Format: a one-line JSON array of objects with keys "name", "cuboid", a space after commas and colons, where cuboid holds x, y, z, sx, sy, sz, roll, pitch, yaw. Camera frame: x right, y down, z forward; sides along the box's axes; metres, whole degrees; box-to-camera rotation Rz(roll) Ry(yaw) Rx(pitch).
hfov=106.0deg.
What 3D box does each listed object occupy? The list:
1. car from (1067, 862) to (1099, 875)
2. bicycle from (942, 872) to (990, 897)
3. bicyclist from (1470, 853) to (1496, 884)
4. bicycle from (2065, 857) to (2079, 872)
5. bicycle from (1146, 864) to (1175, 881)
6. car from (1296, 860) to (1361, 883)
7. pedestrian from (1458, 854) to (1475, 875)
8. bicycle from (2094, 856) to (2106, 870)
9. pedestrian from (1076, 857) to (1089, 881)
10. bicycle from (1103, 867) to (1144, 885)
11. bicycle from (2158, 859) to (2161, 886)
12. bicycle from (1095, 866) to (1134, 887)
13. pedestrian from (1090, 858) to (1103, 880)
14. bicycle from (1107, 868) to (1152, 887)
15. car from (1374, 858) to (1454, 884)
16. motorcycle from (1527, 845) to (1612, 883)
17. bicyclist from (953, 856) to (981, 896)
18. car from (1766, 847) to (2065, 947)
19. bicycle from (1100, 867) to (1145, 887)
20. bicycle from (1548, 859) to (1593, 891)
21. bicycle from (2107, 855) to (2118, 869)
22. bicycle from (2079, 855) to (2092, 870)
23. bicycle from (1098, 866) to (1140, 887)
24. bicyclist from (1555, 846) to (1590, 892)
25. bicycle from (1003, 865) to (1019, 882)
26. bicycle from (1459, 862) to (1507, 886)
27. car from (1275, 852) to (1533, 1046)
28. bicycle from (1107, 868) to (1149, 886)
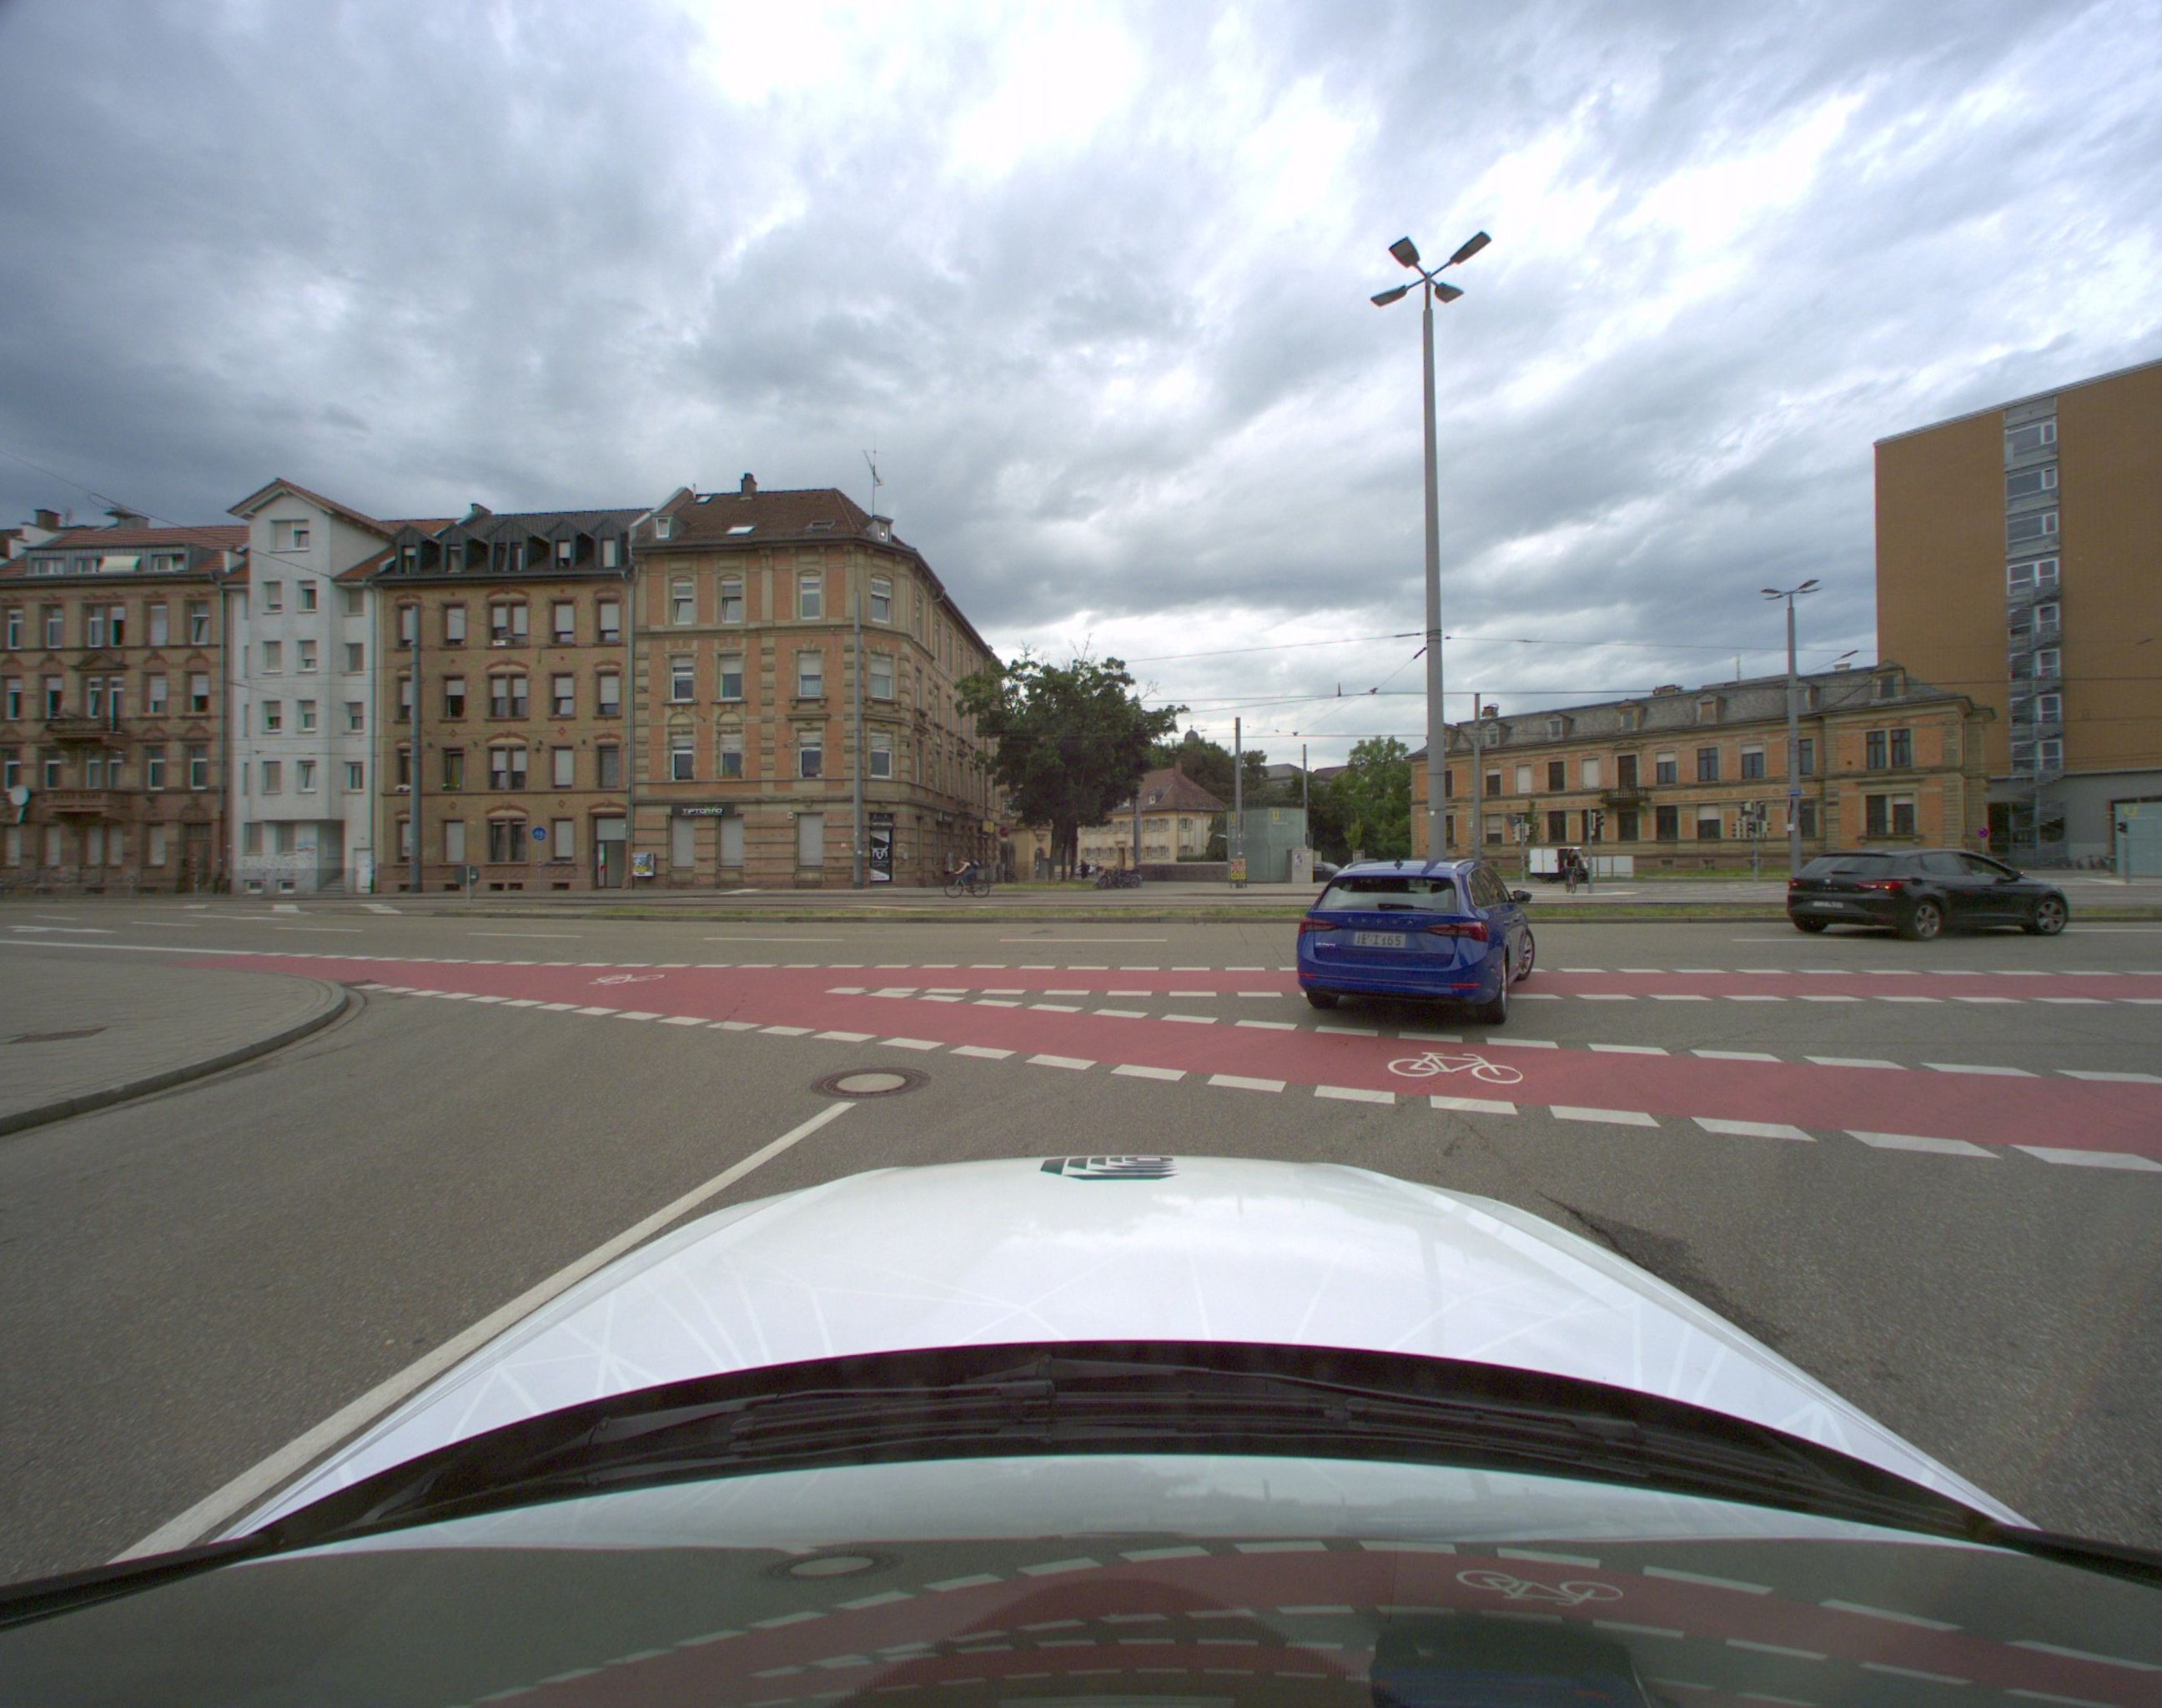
[{"name": "car", "cuboid": [0.206, 1.731, 98.930, 1.705, 1.449, 4.140, 0, 0, -38]}, {"name": "bicycle", "cuboid": [-4.382, 1.153, 31.104, 1.708, 0.915, 0.608, -1, 0, 1]}, {"name": "bicyclist", "cuboid": [21.278, 0.755, 43.145, 0.858, 1.623, 0.908, 1, -2, -34]}, {"name": "bicycle", "cuboid": [76.221, 0.785, 62.634, 1.434, 1.106, 0.566, 0, -1, -37]}, {"name": "bicycle", "cuboid": [5.384, 1.219, 55.296, 0.743, 1.115, 2.339, 0, 0, -32]}, {"name": "car", "cuboid": [16.333, 1.110, 53.993, 1.702, 1.449, 4.103, 0, 0, -30]}, {"name": "pedestrian", "cuboid": [31.615, 0.861, 66.784, 1.113, 1.763, 0.763, -1, -1, 43]}, {"name": "bicycle", "cuboid": [77.044, 0.645, 61.592, 1.434, 1.049, 0.504, 0, -1, -37]}, {"name": "pedestrian", "cuboid": [0.126, 1.108, 60.715, 0.839, 1.722, 0.955, -1, 0, 8]}, {"name": "bicycle", "cuboid": [2.387, 1.239, 45.913, 2.197, 0.987, 0.587, -1, 0, 15]}, {"name": "bicycle", "cuboid": [49.577, 0.801, 36.579, 2.234, 1.208, 0.821, 0, -2, -20]}, {"name": "bicycle", "cuboid": [1.633, 1.110, 39.816, 1.850, 0.987, 0.502, -1, -1, 13]}, {"name": "pedestrian", "cuboid": [1.195, 1.140, 62.639, 0.839, 1.722, 0.955, -1, 0, 8]}, {"name": "bicycle", "cuboid": [2.487, 1.199, 41.775, 2.197, 0.987, 0.502, -1, -1, 15]}, {"name": "car", "cuboid": [19.876, 1.020, 48.764, 1.768, 1.454, 4.117, 0, -1, -34]}, {"name": "motorcycle", "cuboid": [27.128, 0.546, 45.290, 1.703, 2.014, 3.647, 0, -1, -36]}, {"name": "bicyclist", "cuboid": [-4.343, 0.847, 31.104, 0.936, 1.494, 0.664, -1, 0, 2]}, {"name": "car", "cuboid": [13.657, 0.644, 13.403, 3.803, 1.449, 1.703, -1, 0, -13]}, {"name": "bicycle", "cuboid": [2.085, 1.166, 41.072, 2.197, 1.006, 0.482, -1, -1, 15]}, {"name": "bicycle", "cuboid": [19.730, 0.862, 32.857, 0.809, 1.243, 2.004, -2, -2, 8]}, {"name": "bicycle", "cuboid": [77.442, 0.618, 61.154, 1.434, 1.049, 0.476, 0, -1, -37]}, {"name": "bicycle", "cuboid": [76.648, 0.649, 62.121, 1.434, 1.106, 0.566, 0, -1, -37]}, {"name": "bicycle", "cuboid": [1.898, 1.126, 40.534, 2.016, 0.987, 0.524, -1, -1, 15]}, {"name": "bicyclist", "cuboid": [19.698, 0.607, 32.642, 0.809, 1.798, 1.032, -2, -1, 8]}, {"name": "bicycle", "cuboid": [-3.888, 1.082, 45.249, 0.658, 0.914, 1.990, -1, 0, 2]}, {"name": "bicycle", "cuboid": [21.273, 1.051, 43.141, 0.861, 1.208, 2.174, 1, -1, -34]}, {"name": "car", "cuboid": [3.653, 0.752, 8.634, 1.762, 1.488, 4.493, -1, -1, 32]}, {"name": "bicycle", "cuboid": [2.597, 1.278, 44.701, 2.197, 0.987, 0.587, -1, 0, 15]}]
